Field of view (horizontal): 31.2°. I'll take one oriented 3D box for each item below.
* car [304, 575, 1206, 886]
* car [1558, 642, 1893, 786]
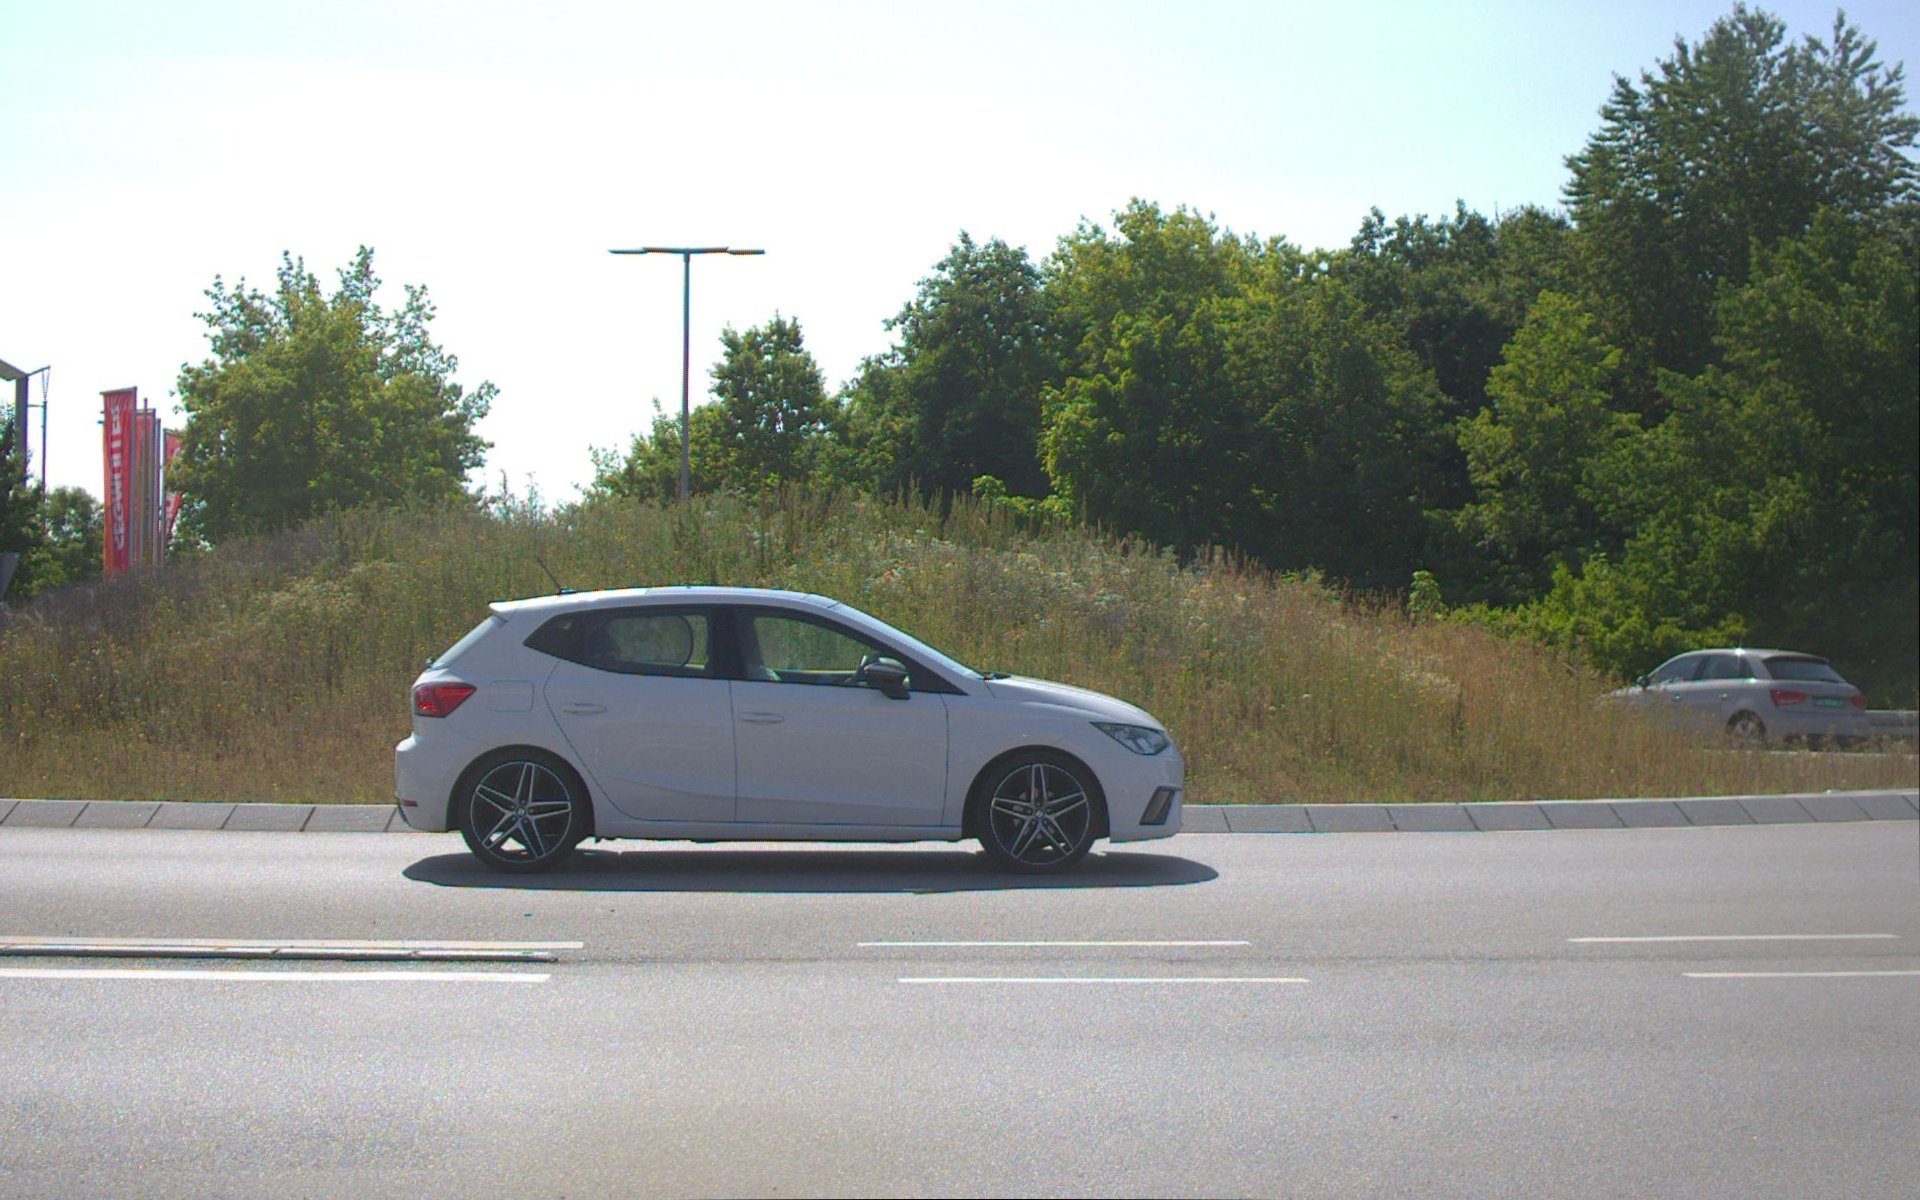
[{"bbox_3d":[-0.977,0.635,17.731,4.402,1.400,1.791,1,0,3],"label":"car"},{"bbox_3d":[9.396,1.373,42.464,1.776,1.590,4.000,1,0,-30],"label":"car"}]
